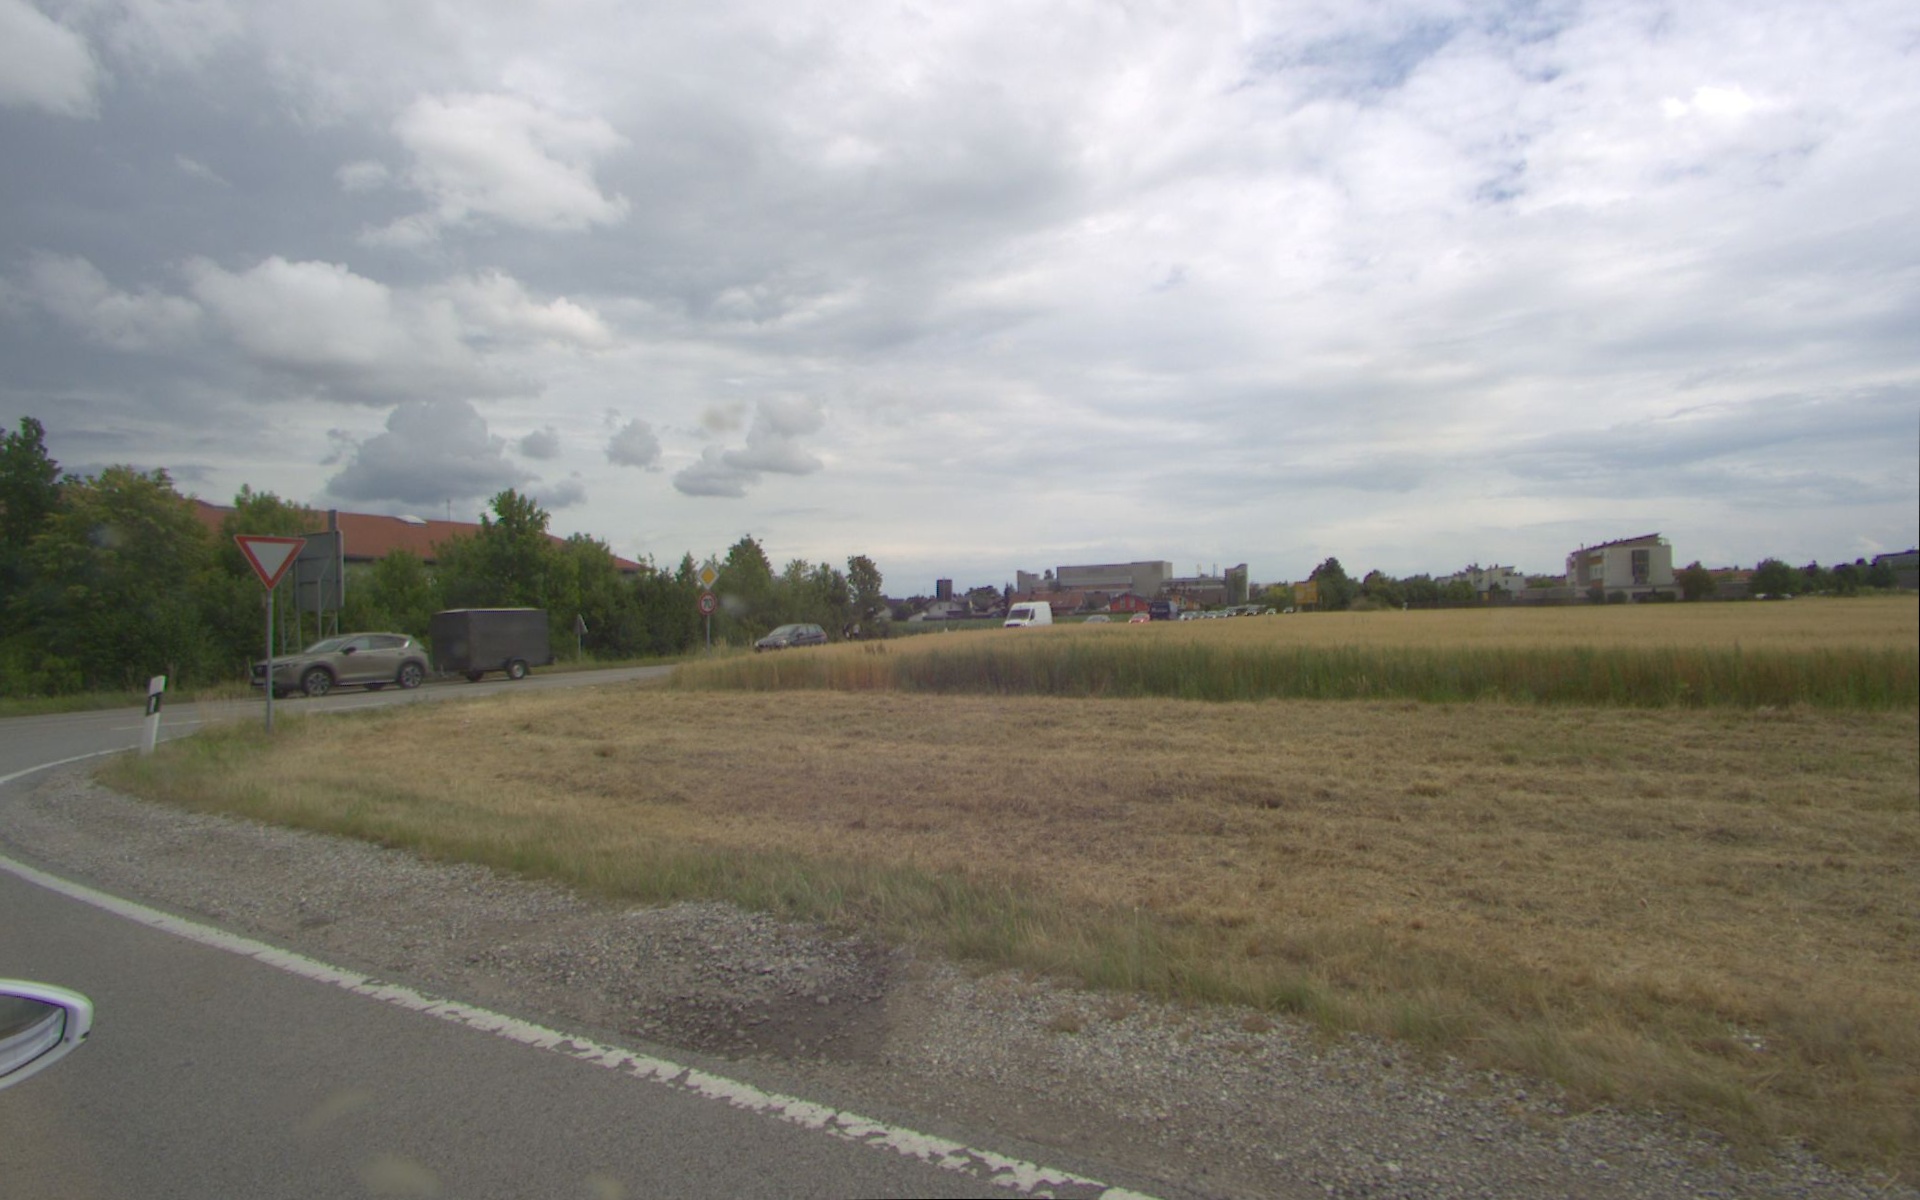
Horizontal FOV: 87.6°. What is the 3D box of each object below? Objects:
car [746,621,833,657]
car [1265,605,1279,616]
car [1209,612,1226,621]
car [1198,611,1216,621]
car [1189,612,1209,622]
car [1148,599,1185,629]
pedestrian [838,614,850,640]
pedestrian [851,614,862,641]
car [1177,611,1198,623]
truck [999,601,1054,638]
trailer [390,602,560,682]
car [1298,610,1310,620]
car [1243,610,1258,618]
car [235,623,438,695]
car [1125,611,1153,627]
[{"bbox_3d":[-8.029,1.837,47.503,1.968,1.506,4.287,-2,0,24],"label":"car"},{"bbox_3d":[58.725,1.914,188.462,1.967,2.040,3.987,0,0,25],"label":"car"},{"bbox_3d":[36.751,2.341,142.776,1.826,1.287,3.518,-1,0,25],"label":"car"},{"bbox_3d":[33.375,2.194,135.253,1.826,1.287,3.518,-1,0,25],"label":"car"},{"bbox_3d":[30.788,2.185,128.968,1.826,1.287,3.518,-1,0,25],"label":"car"},{"bbox_3d":[19.446,1.304,93.985,2.115,2.674,5.549,0,0,26],"label":"car"},{"bbox_3d":[-7.616,1.792,65.862,0.521,1.705,0.626,0,1,21],"label":"pedestrian"},{"bbox_3d":[-6.740,1.786,65.202,0.521,1.705,0.626,0,1,21],"label":"pedestrian"},{"bbox_3d":[27.848,2.055,122.337,1.826,1.287,3.518,-1,0,25],"label":"car"},{"bbox_3d":[5.015,1.438,74.658,1.968,2.608,5.996,-3,-1,25],"label":"truck"},{"bbox_3d":[-15.432,1.296,32.130,2.377,2.322,4.383,-3,-1,23],"label":"trailer"},{"bbox_3d":[67.876,2.943,197.649,1.966,1.916,3.989,-1,1,22],"label":"car"},{"bbox_3d":[48.124,2.253,165.748,1.826,1.287,3.518,-1,0,25],"label":"car"},{"bbox_3d":[-17.227,1.585,27.934,1.967,1.704,4.466,-3,-1,22],"label":"car"},{"bbox_3d":[18.219,1.898,101.838,1.826,1.486,3.986,-1,0,26],"label":"car"}]
